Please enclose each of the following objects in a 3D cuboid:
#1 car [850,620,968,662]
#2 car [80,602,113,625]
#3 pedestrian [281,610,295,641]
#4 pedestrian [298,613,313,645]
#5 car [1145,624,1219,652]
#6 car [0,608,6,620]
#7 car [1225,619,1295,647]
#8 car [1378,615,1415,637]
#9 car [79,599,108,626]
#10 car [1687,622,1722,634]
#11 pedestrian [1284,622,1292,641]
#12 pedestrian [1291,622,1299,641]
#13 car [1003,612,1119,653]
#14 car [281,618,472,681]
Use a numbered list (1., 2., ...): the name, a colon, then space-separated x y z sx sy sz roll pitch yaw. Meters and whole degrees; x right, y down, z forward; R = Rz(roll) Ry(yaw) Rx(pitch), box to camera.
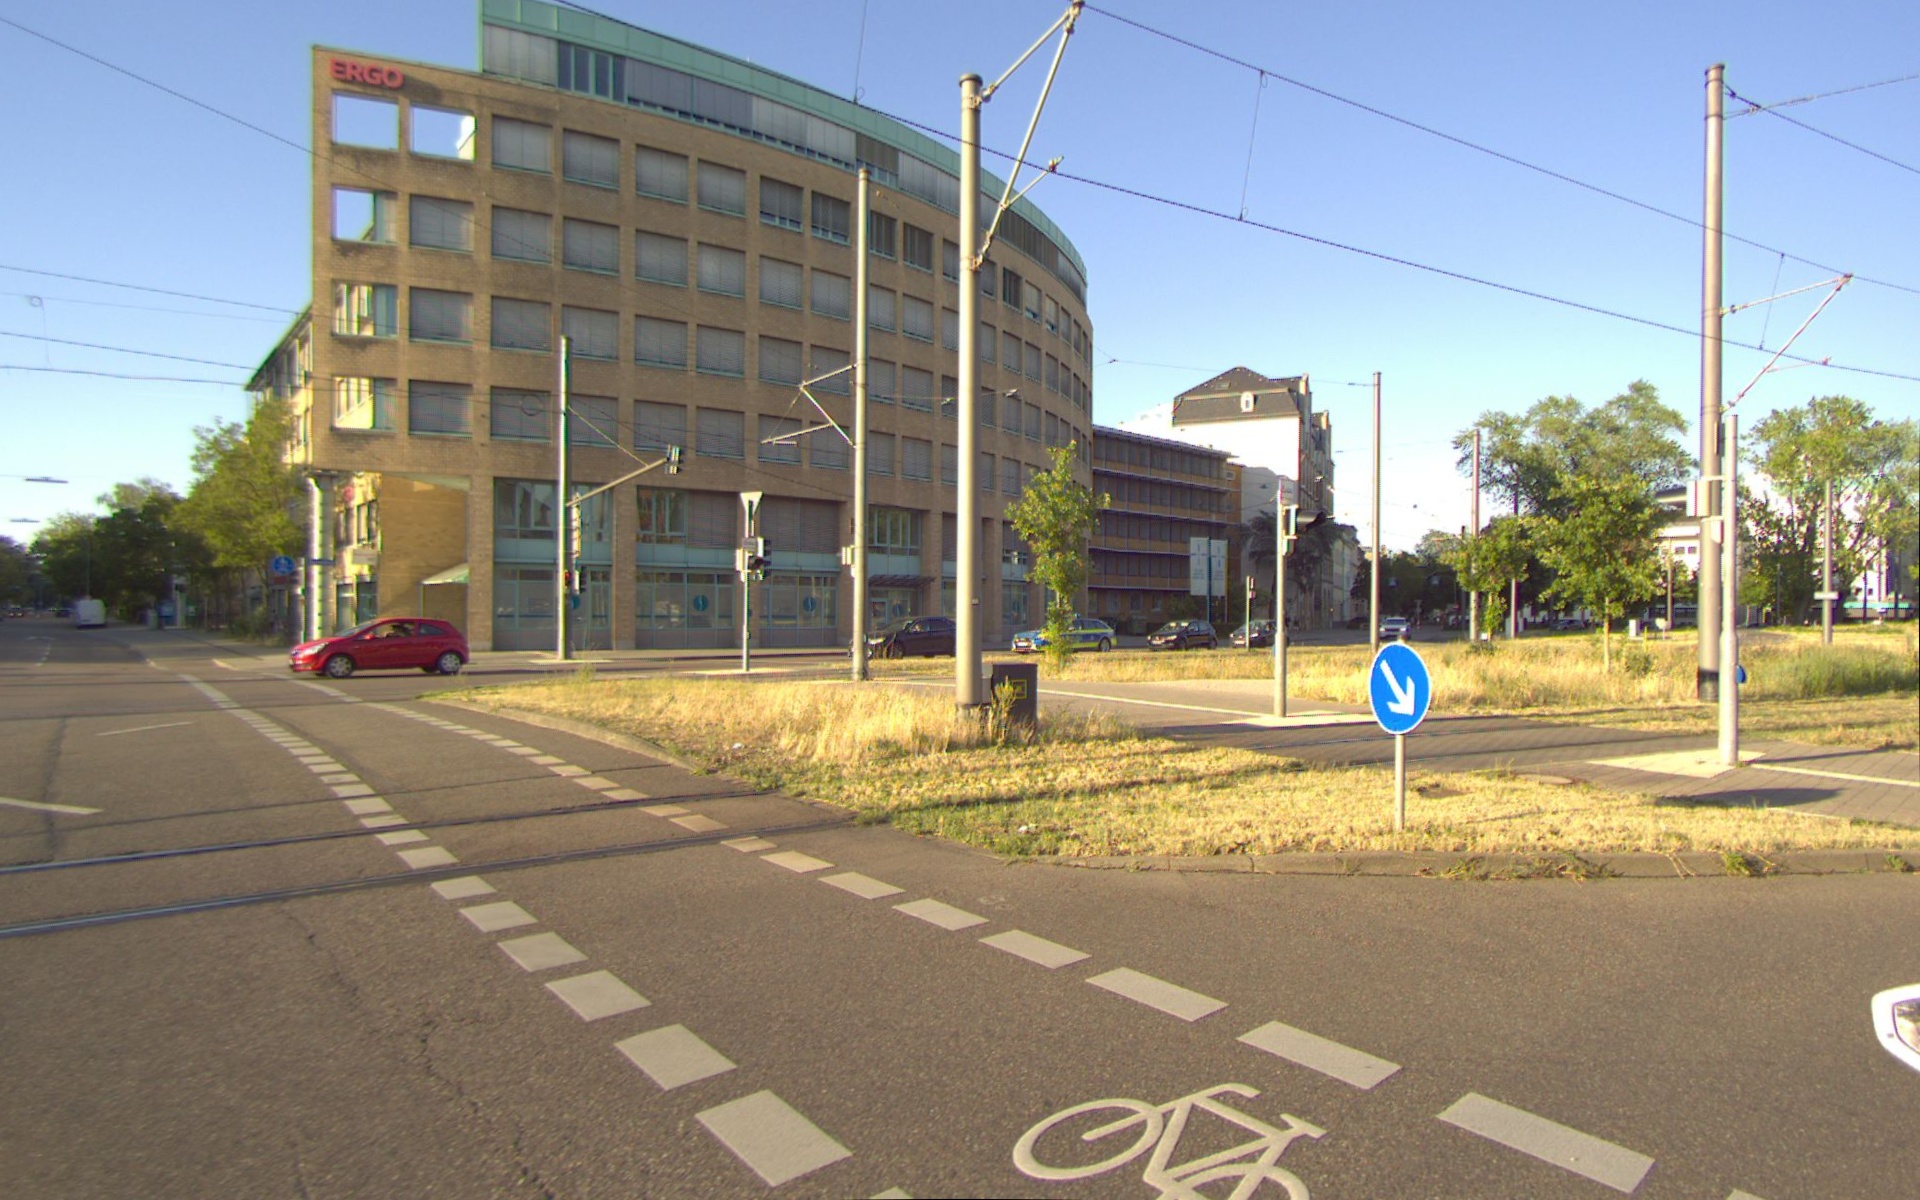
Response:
1. car: -1.695 1.349 33.915 3.761 1.299 1.709 1 -1 -42
2. car: -79.547 1.203 92.491 2.217 2.040 4.544 0 0 -42
3. pedestrian: -34.759 1.299 51.963 0.575 1.576 0.738 0 0 -35
4. pedestrian: -31.718 1.398 48.672 0.575 1.576 0.738 0 0 -35
5. car: 9.914 1.660 44.752 3.574 1.169 1.505 1 0 -44
6. car: -126.929 1.803 132.264 1.877 1.550 3.950 1 0 -42
7. car: 14.706 1.601 49.202 3.711 1.298 1.631 1 0 -42
8. car: 31.755 1.892 73.018 1.746 1.502 4.297 0 0 33
9. car: -79.472 1.132 92.152 1.984 2.375 3.953 0 0 -41
10. car: 91.667 3.399 123.682 1.510 1.379 3.305 1 0 -44
11. pedestrian: 25.866 2.479 79.190 0.481 1.449 0.410 0 0 -42
12. pedestrian: 26.265 2.492 78.742 0.481 1.449 0.410 0 0 -42
13. car: 3.989 1.212 39.132 4.748 1.500 1.871 1 -1 -44
14. car: -14.652 1.184 25.364 1.706 1.433 3.864 0 0 43
